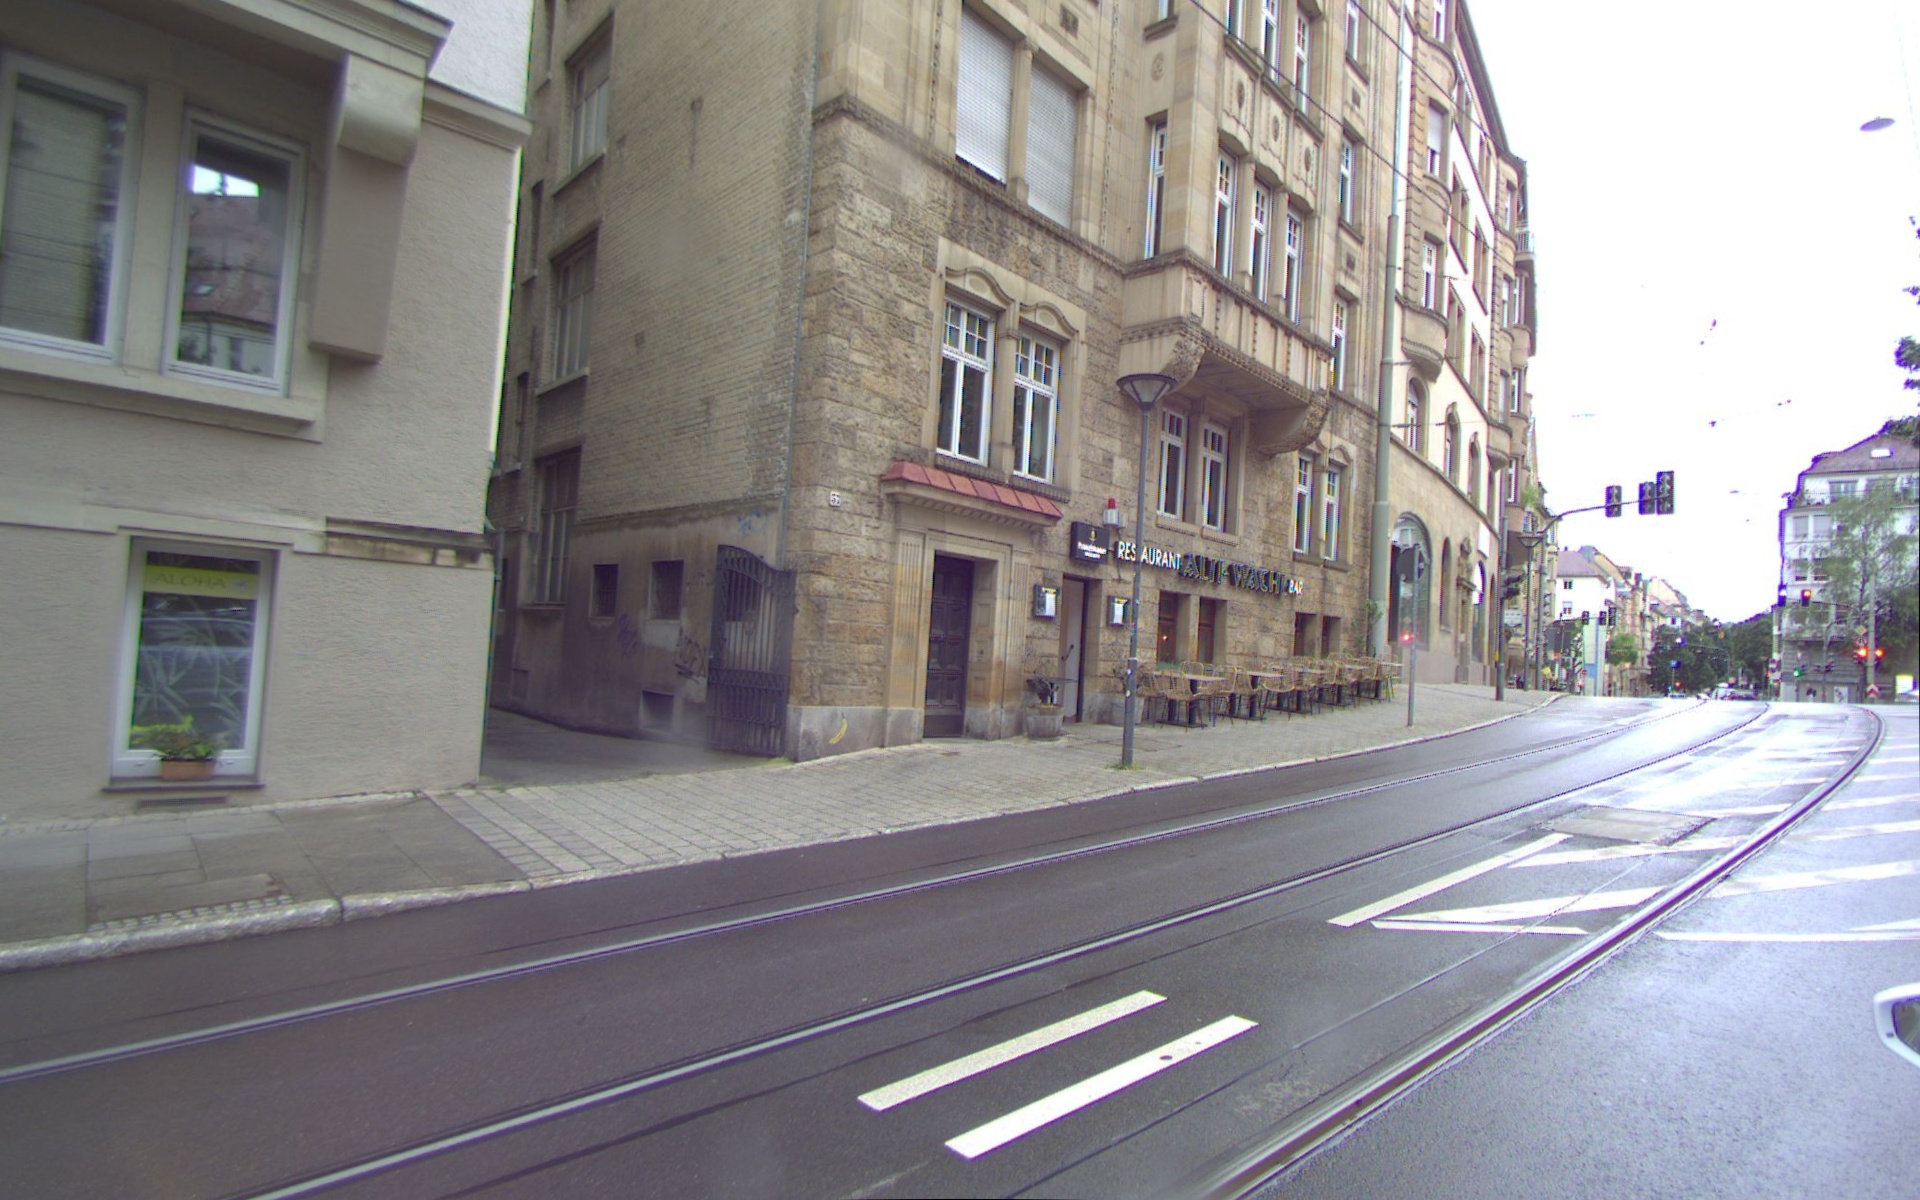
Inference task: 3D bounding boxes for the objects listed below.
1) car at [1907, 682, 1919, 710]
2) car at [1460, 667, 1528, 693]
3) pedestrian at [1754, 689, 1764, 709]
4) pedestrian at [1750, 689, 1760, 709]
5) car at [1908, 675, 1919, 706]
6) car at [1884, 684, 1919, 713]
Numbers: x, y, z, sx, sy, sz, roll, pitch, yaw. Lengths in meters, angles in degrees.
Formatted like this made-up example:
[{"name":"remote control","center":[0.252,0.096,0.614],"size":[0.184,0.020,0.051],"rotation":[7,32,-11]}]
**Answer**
[{"name":"car","center":[60.989,5.940,61.996],"size":[3.930,1.635,1.796],"rotation":[1,-2,-12]},{"name":"car","center":[35.775,5.366,67.310],"size":[3.932,1.530,1.795],"rotation":[-1,-2,33]},{"name":"pedestrian","center":[68.448,8.492,86.025],"size":[0.640,1.683,0.647],"rotation":[1,-1,40]},{"name":"pedestrian","center":[69.841,8.657,88.271],"size":[0.640,1.683,0.647],"rotation":[1,-1,40]},{"name":"car","center":[50.092,4.585,50.999],"size":[3.954,1.530,1.786],"rotation":[2,-4,-31]},{"name":"car","center":[56.051,5.637,57.331],"size":[4.571,1.530,1.801],"rotation":[0,-2,10]}]
